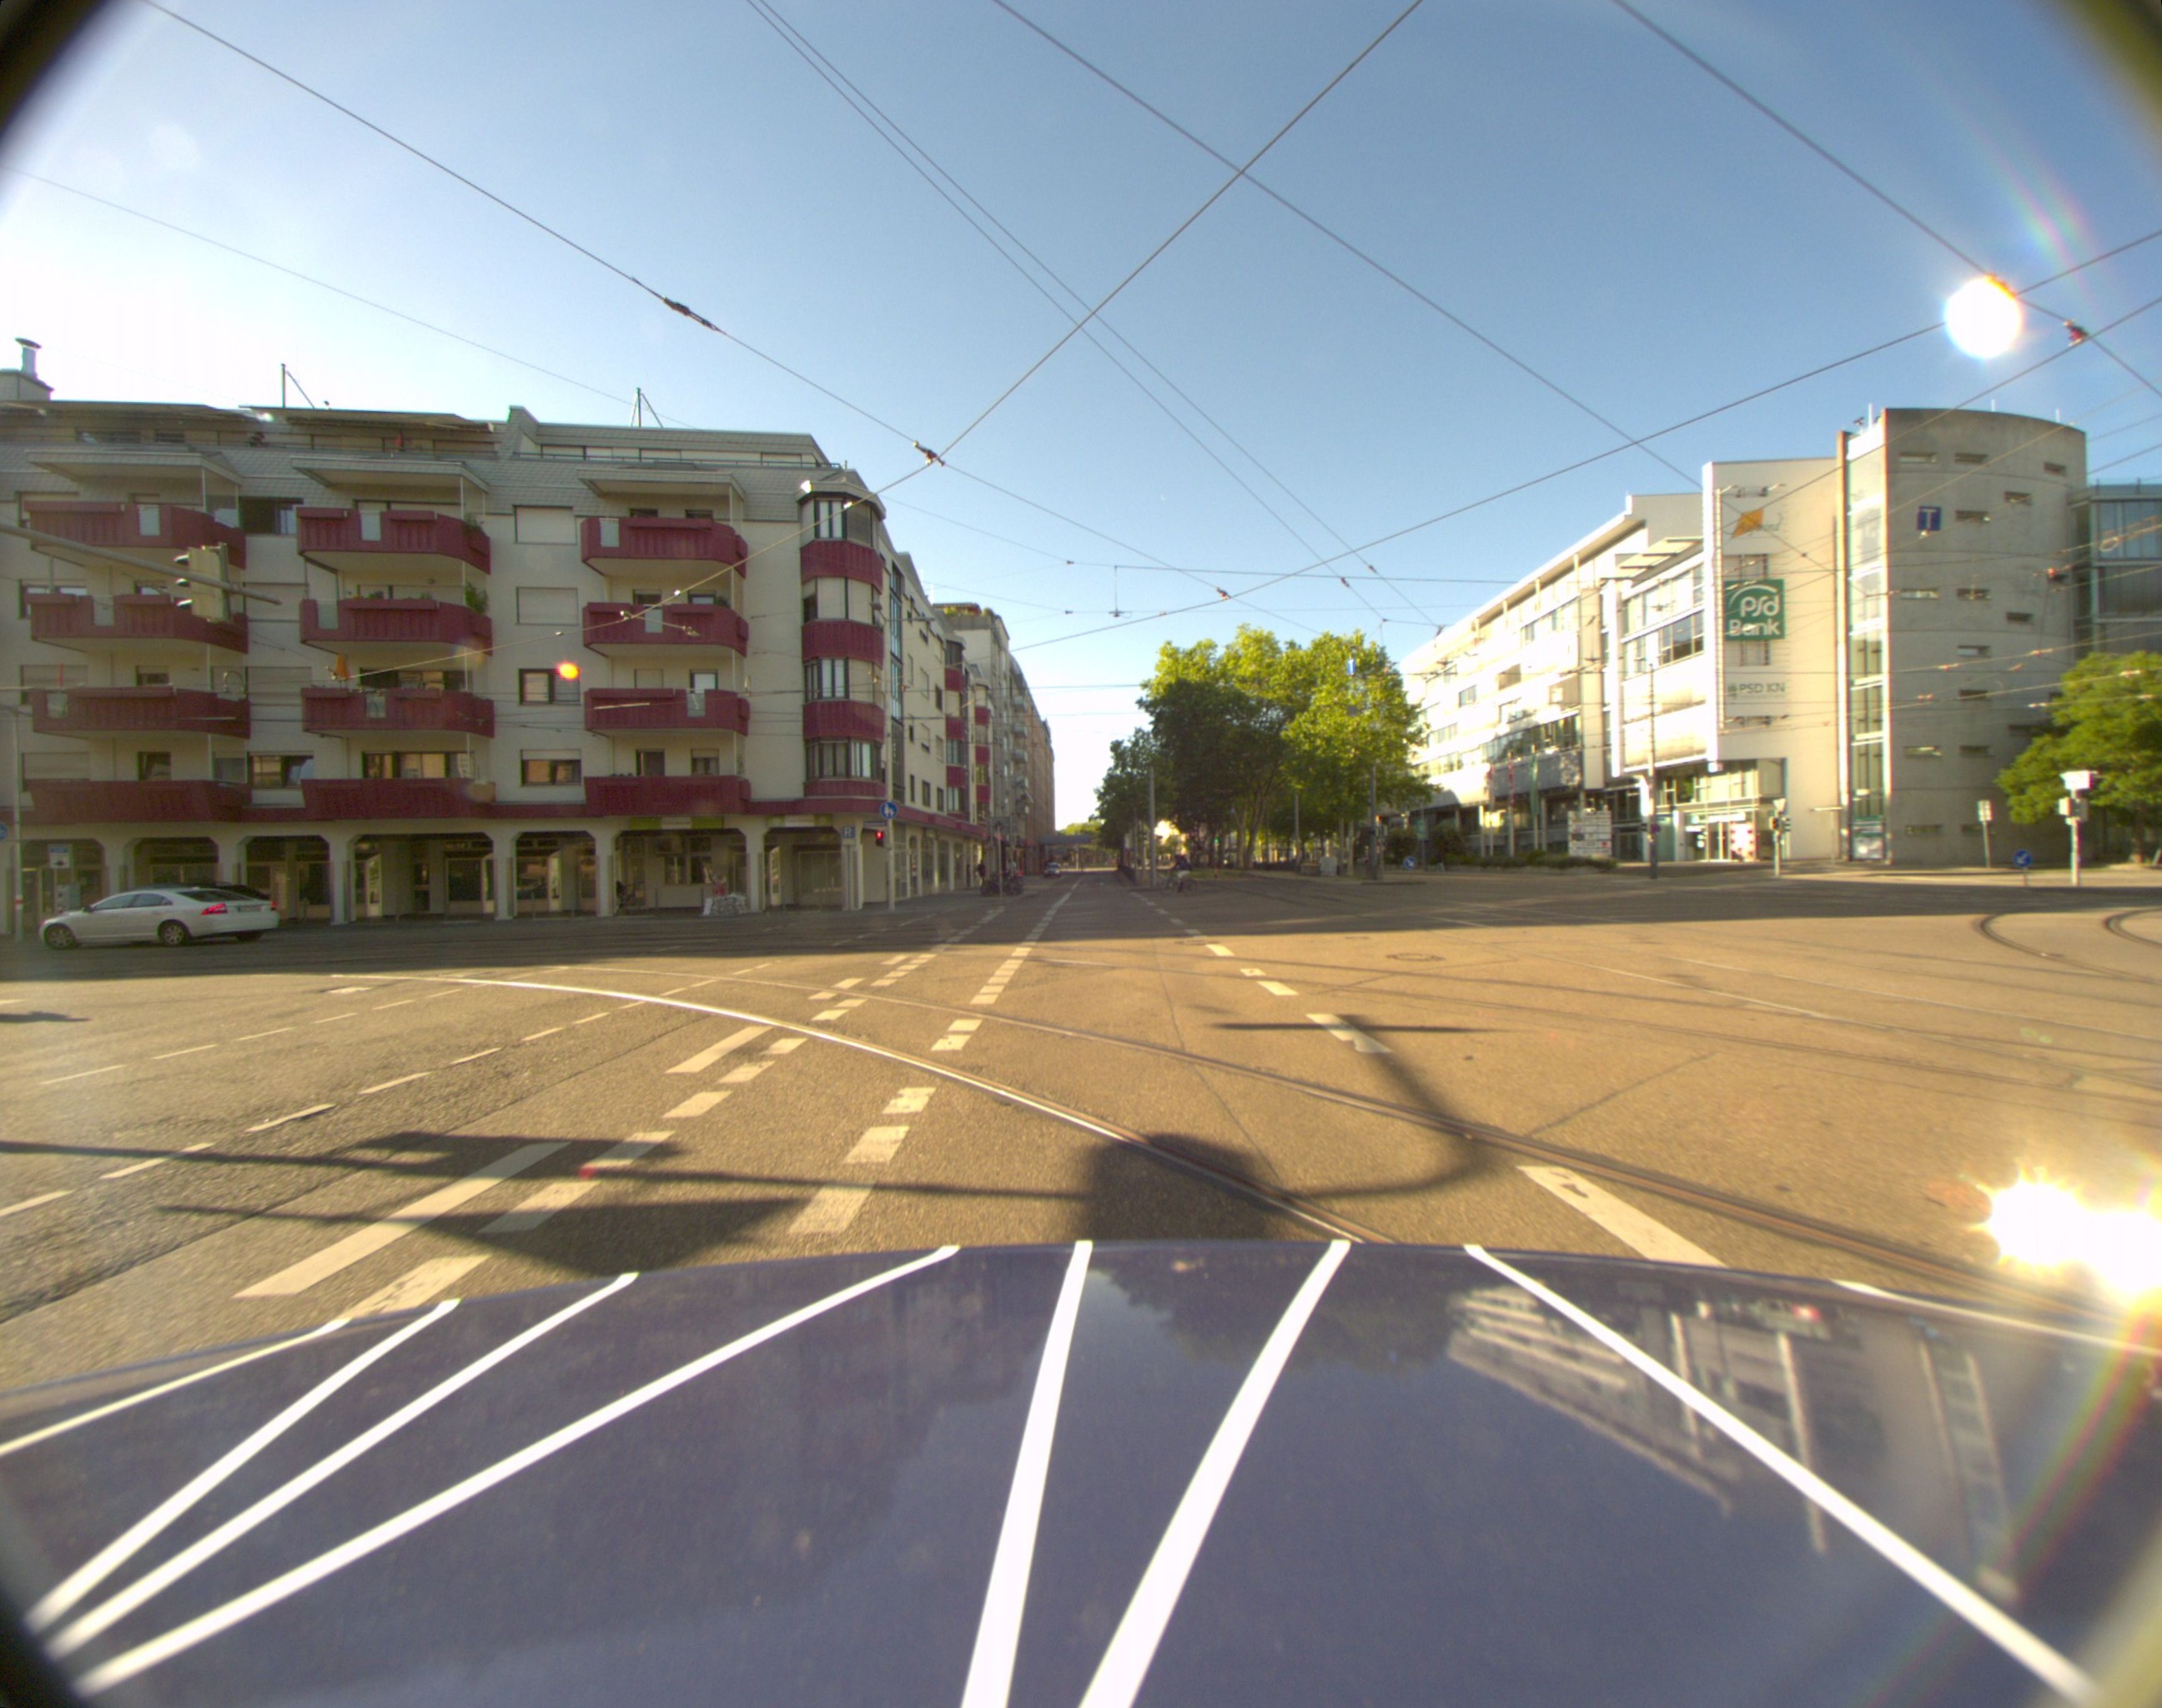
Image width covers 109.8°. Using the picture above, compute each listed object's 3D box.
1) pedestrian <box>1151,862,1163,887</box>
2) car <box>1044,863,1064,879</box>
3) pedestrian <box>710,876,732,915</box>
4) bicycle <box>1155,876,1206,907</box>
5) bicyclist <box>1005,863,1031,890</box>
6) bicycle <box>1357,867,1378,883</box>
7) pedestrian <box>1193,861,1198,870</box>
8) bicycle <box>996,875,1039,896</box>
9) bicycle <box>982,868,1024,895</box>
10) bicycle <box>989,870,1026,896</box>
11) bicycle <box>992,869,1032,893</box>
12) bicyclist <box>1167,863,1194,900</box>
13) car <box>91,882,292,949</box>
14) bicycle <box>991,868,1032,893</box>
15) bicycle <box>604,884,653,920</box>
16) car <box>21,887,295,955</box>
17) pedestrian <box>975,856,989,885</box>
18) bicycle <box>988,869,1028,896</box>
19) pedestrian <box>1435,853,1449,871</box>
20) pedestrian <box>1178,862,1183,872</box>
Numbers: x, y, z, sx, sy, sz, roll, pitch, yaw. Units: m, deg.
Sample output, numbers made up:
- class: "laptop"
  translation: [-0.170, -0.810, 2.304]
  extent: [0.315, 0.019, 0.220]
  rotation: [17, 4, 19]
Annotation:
- class: "pedestrian"
  translation: [5.353, 1.430, 53.575]
  extent: [0.735, 1.736, 0.712]
  rotation: [-2, 0, 7]
- class: "car"
  translation: [-2.903, 1.826, 83.441]
  extent: [1.837, 1.613, 4.285]
  rotation: [1, 0, 3]
- class: "pedestrian"
  translation: [-12.677, 1.451, 26.745]
  extent: [0.664, 1.342, 0.655]
  rotation: [-2, 0, -25]
- class: "bicycle"
  translation: [4.202, 1.590, 32.058]
  extent: [2.044, 1.182, 0.590]
  rotation: [-3, 0, -15]
- class: "bicyclist"
  translation: [-3.757, 1.332, 45.379]
  extent: [1.057, 1.531, 1.081]
  rotation: [-2, 0, 40]
- class: "bicycle"
  translation: [17.581, 1.300, 46.734]
  extent: [0.814, 0.940, 1.727]
  rotation: [-2, -1, 8]
- class: "pedestrian"
  translation: [19.022, 1.906, 126.438]
  extent: [0.554, 1.488, 0.551]
  rotation: [-2, 0, -9]
- class: "bicycle"
  translation: [-3.764, 1.862, 45.352]
  extent: [0.961, 1.176, 2.603]
  rotation: [-2, -1, 40]
- class: "bicycle"
  translation: [-3.660, 1.287, 35.681]
  extent: [1.805, 1.192, 0.546]
  rotation: [-2, 1, 6]
- class: "bicycle"
  translation: [-3.517, 1.397, 36.424]
  extent: [1.626, 1.192, 0.496]
  rotation: [-2, 0, 6]
- class: "bicycle"
  translation: [-3.477, 1.363, 38.507]
  extent: [1.945, 1.163, 0.572]
  rotation: [-2, 0, -1]
- class: "bicyclist"
  translation: [4.198, 1.158, 32.057]
  extent: [0.882, 1.485, 0.722]
  rotation: [-3, 0, -15]
- class: "car"
  translation: [-26.800, 1.823, 23.000]
  extent: [3.905, 1.674, 1.738]
  rotation: [-3, 0, -1]
- class: "bicycle"
  translation: [-3.473, 1.312, 37.882]
  extent: [1.982, 1.192, 0.591]
  rotation: [-2, 0, -3]
- class: "bicycle"
  translation: [-15.722, 1.650, 26.409]
  extent: [1.793, 1.192, 0.617]
  rotation: [-2, 0, 29]
- class: "car"
  translation: [-23.876, 1.716, 19.787]
  extent: [4.896, 1.447, 1.855]
  rotation: [-2, -1, 1]
- class: "pedestrian"
  translation: [-6.375, 1.045, 49.112]
  extent: [0.724, 1.847, 0.801]
  rotation: [-2, 0, 1]
- class: "bicycle"
  translation: [-3.548, 1.382, 36.997]
  extent: [1.835, 1.213, 0.496]
  rotation: [-2, 0, 5]
- class: "pedestrian"
  translation: [32.492, 0.695, 68.432]
  extent: [0.908, 1.583, 0.767]
  rotation: [-2, 0, 1]
- class: "pedestrian"
  translation: [18.605, 2.398, 141.710]
  extent: [0.656, 1.744, 0.676]
  rotation: [-2, 0, -6]
